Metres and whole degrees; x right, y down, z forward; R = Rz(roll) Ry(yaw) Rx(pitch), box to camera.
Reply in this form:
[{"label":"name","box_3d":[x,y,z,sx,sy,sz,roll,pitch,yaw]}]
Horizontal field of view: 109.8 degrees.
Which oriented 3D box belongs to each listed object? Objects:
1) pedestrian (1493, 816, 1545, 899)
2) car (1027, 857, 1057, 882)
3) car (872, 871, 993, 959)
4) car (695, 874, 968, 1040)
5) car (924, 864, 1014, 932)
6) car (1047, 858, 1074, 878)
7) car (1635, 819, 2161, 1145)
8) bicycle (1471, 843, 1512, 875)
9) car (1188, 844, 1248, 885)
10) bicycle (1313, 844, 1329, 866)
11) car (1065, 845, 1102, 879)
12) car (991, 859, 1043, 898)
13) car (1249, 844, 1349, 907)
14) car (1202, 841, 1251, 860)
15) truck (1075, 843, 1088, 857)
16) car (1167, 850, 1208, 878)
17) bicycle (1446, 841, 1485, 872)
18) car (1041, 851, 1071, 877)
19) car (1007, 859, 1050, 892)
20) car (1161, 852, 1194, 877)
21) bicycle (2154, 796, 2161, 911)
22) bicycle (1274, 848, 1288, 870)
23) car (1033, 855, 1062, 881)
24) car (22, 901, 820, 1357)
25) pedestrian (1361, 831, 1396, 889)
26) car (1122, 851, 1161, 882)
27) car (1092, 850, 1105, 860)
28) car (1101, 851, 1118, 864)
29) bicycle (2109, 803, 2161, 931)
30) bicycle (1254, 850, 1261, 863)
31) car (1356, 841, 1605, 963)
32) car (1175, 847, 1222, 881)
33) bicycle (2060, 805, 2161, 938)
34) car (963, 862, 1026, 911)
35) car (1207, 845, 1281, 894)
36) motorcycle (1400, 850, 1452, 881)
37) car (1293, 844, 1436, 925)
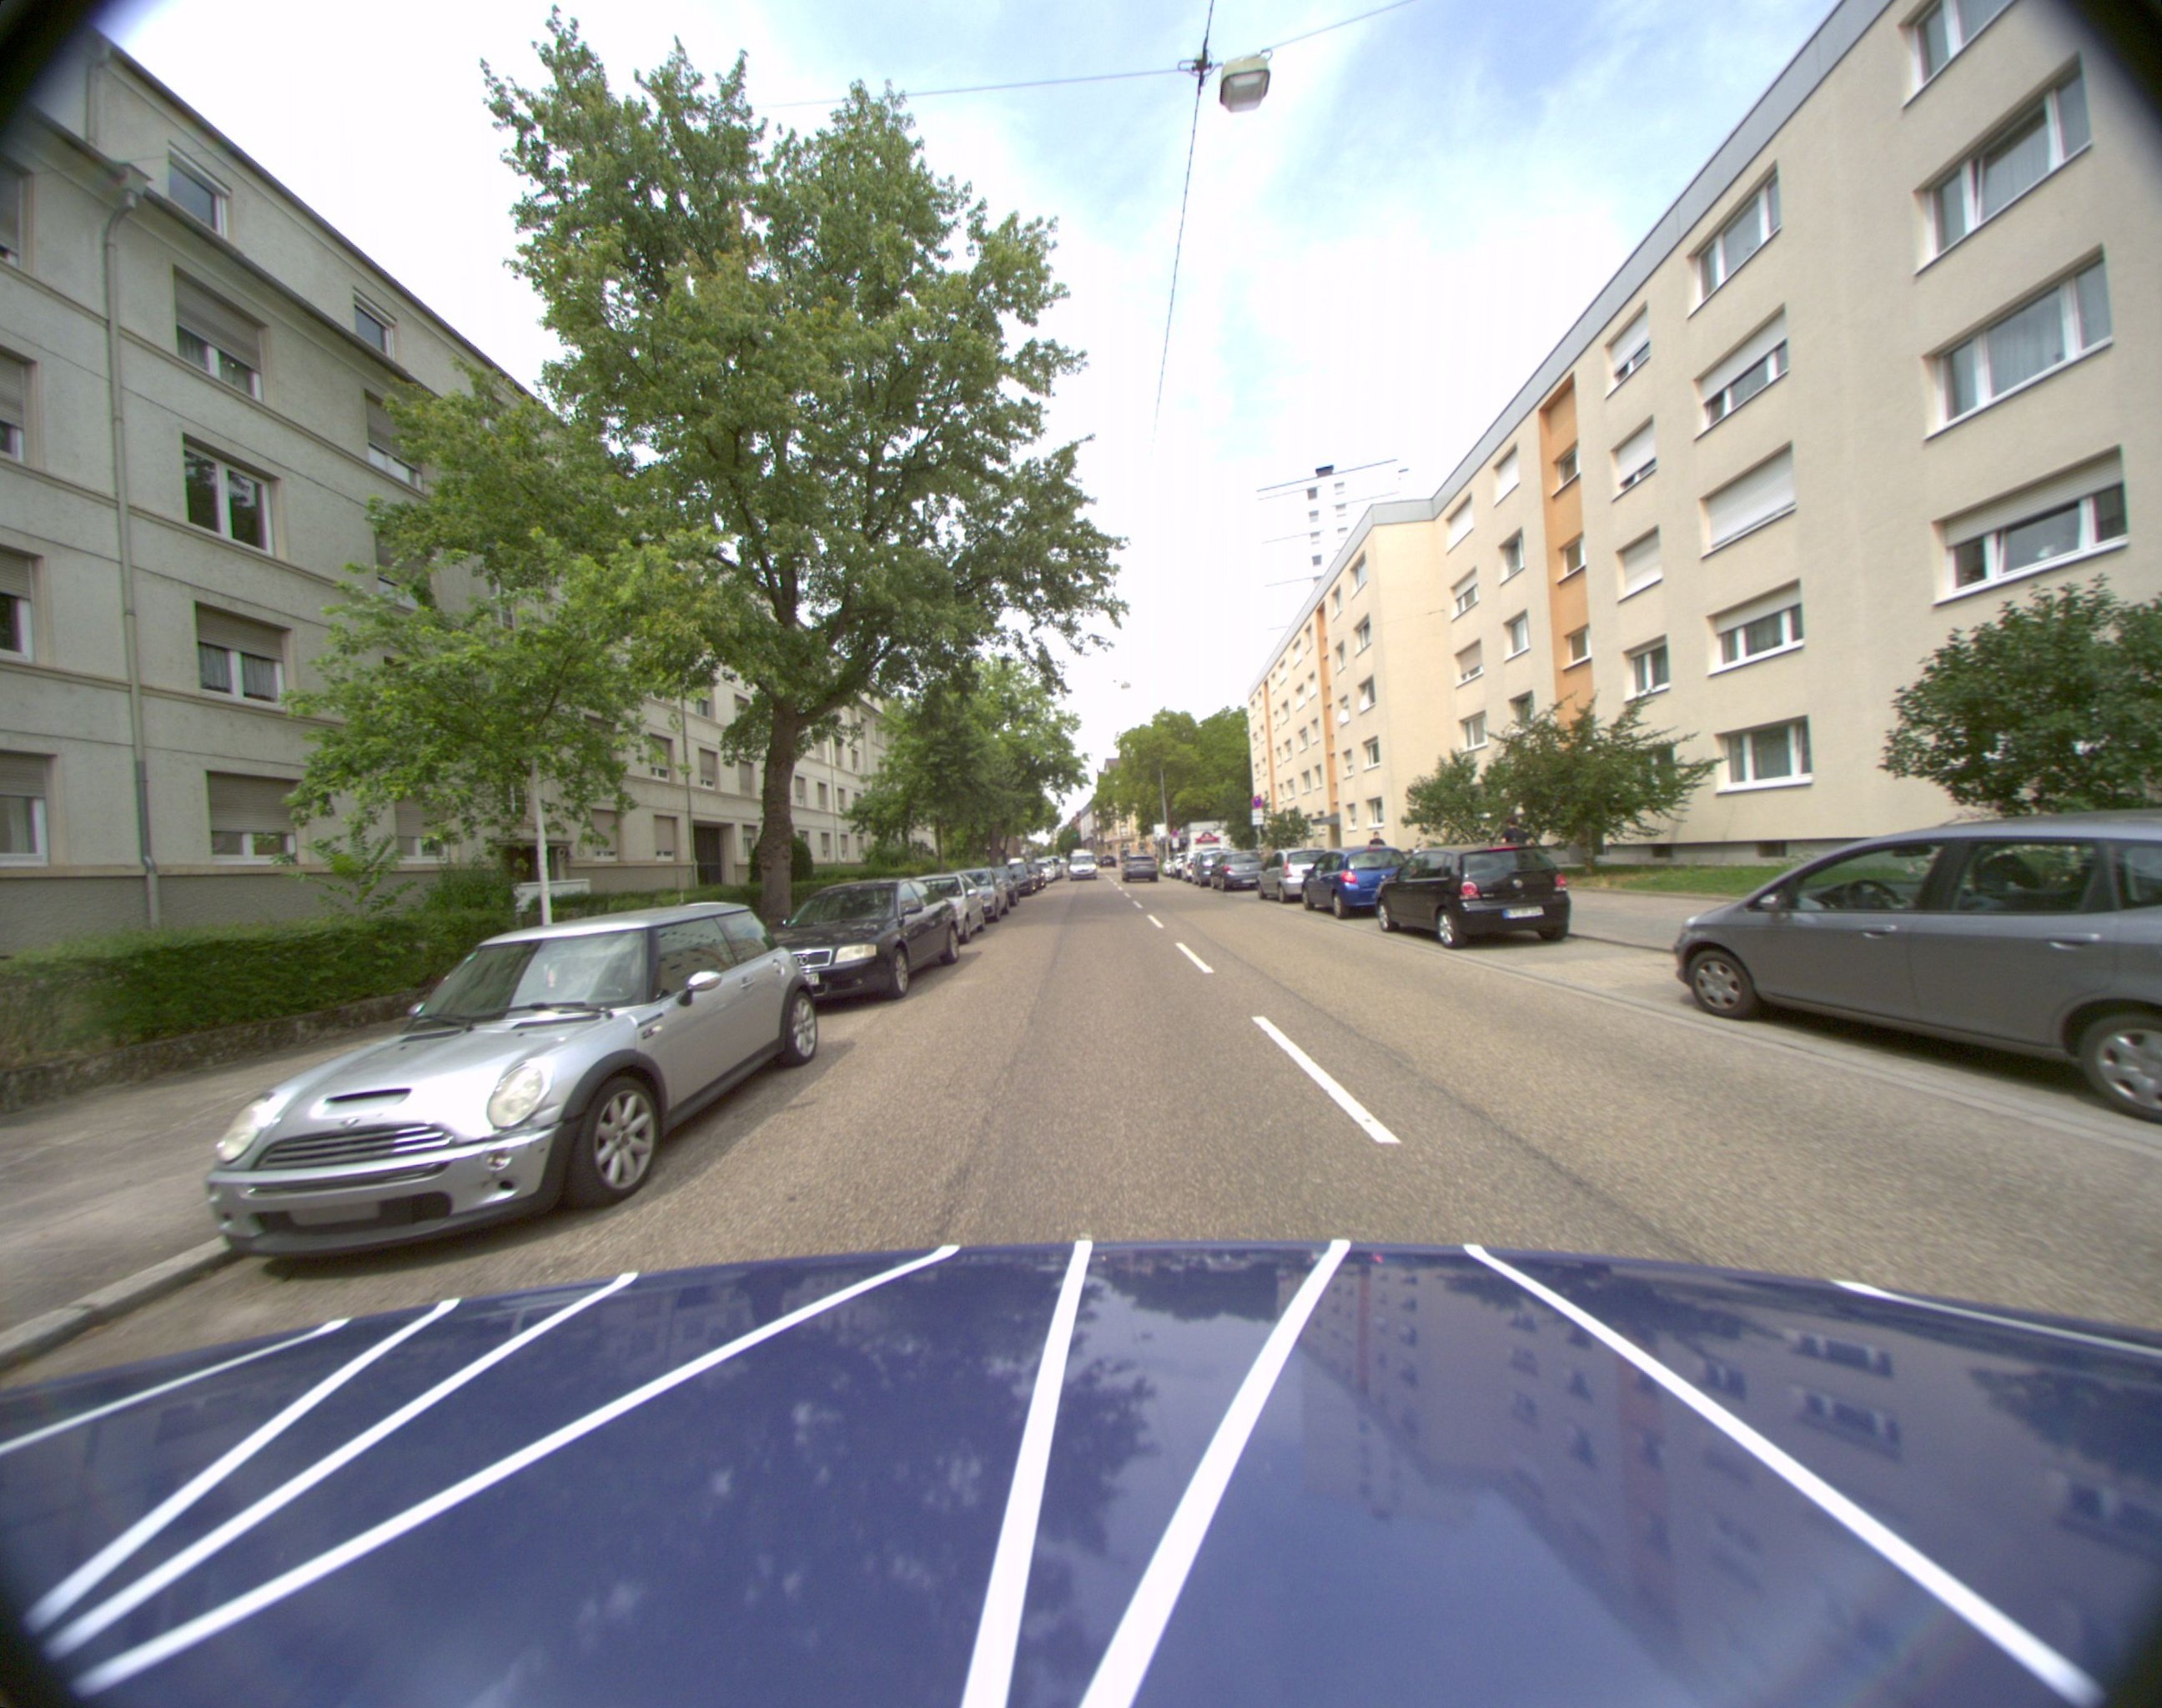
[{"label":"pedestrian","box_3d":[9.812,0.078,17.036,0.621,1.802,0.803,-3,1,-2]},{"label":"car","box_3d":[-2.508,1.013,49.734,1.701,1.441,4.101,-4,0,-1]},{"label":"car","box_3d":[-2.974,1.179,16.034,1.674,1.392,3.851,-6,0,0]},{"label":"car","box_3d":[-2.950,1.140,10.232,1.784,1.461,4.615,-5,0,4]},{"label":"car","box_3d":[-2.966,1.113,21.085,1.701,1.461,4.717,-5,0,0]},{"label":"car","box_3d":[-1.673,1.133,64.266,1.922,1.436,4.239,-5,0,2]},{"label":"car","box_3d":[5.994,0.600,4.957,1.727,1.530,4.005,-4,-1,0]},{"label":"bicycle","box_3d":[13.772,0.161,25.548,0.441,0.980,1.674,-5,0,1]},{"label":"car","box_3d":[6.237,0.452,35.030,1.947,1.603,4.862,-5,0,2]},{"label":"bicycle","box_3d":[14.085,0.063,44.567,0.556,1.243,1.919,-4,-1,9]},{"label":"car","box_3d":[0.117,0.515,50.429,2.082,2.038,4.680,-3,0,-2]},{"label":"car","box_3d":[-2.815,1.063,34.281,1.701,1.461,4.560,-5,0,1]},{"label":"car","box_3d":[6.241,0.582,22.180,1.674,1.552,3.851,-5,0,0]},{"label":"car","box_3d":[14.608,-0.336,76.456,4.640,1.676,1.850,-2,0,7]},{"label":"truck","box_3d":[0.073,-0.902,170.535,2.548,3.089,7.019,-2,0,-2]},{"label":"car","box_3d":[6.358,0.580,45.686,1.713,1.464,3.989,-5,0,-1]},{"label":"bicycle","box_3d":[12.947,0.092,25.648,0.441,0.980,1.616,-5,0,1]},{"label":"car","box_3d":[-1.909,0.742,59.411,1.922,1.854,4.846,-5,0,2]},{"label":"car","box_3d":[-2.651,1.054,39.418,1.701,1.461,4.101,-5,0,1]},{"label":"car","box_3d":[6.374,0.692,50.675,1.712,1.464,3.990,-5,0,2]},{"label":"bicycle","box_3d":[12.599,0.018,7.696,0.463,1.416,2.131,-4,-1,4]},{"label":"bicycle","box_3d":[11.837,0.276,44.982,0.580,1.243,1.935,-4,-1,11]},{"label":"car","box_3d":[-2.384,0.977,54.420,1.608,1.598,3.805,-5,0,2]},{"label":"car","box_3d":[-3.142,1.155,4.746,1.663,1.460,3.726,-4,-1,0]},{"label":"pedestrian","box_3d":[9.540,0.186,24.400,0.621,1.802,0.899,-5,1,-2]},{"label":"car","box_3d":[3.381,0.666,43.205,1.823,1.576,4.436,-3,0,0]},{"label":"car","box_3d":[2.711,0.117,119.551,1.848,1.442,4.185,-2,0,1]},{"label":"car","box_3d":[3.484,0.467,93.475,1.956,1.512,4.613,-1,0,1]},{"label":"bicycle","box_3d":[12.042,0.124,7.665,0.463,1.404,2.131,-4,-1,4]},{"label":"bicycle","box_3d":[14.585,0.219,62.957,0.412,1.032,1.806,-3,0,10]},{"label":"car","box_3d":[6.015,0.632,12.087,1.822,1.474,4.116,-5,0,2]},{"label":"car","box_3d":[6.182,0.499,40.429,1.701,1.603,4.477,-5,0,0]},{"label":"bicycle","box_3d":[11.483,0.169,7.681,0.463,1.385,2.131,-4,-1,5]},{"label":"car","box_3d":[-3.053,1.094,27.715,1.701,1.461,4.753,-5,0,-1]},{"label":"car","box_3d":[6.233,0.544,29.534,1.947,1.603,4.302,-5,0,1]},{"label":"motorcycle","box_3d":[11.731,0.371,25.905,0.663,0.980,2.317,-5,0,1]},{"label":"car","box_3d":[6.200,0.611,17.102,1.822,1.474,3.885,-5,0,3]}]
